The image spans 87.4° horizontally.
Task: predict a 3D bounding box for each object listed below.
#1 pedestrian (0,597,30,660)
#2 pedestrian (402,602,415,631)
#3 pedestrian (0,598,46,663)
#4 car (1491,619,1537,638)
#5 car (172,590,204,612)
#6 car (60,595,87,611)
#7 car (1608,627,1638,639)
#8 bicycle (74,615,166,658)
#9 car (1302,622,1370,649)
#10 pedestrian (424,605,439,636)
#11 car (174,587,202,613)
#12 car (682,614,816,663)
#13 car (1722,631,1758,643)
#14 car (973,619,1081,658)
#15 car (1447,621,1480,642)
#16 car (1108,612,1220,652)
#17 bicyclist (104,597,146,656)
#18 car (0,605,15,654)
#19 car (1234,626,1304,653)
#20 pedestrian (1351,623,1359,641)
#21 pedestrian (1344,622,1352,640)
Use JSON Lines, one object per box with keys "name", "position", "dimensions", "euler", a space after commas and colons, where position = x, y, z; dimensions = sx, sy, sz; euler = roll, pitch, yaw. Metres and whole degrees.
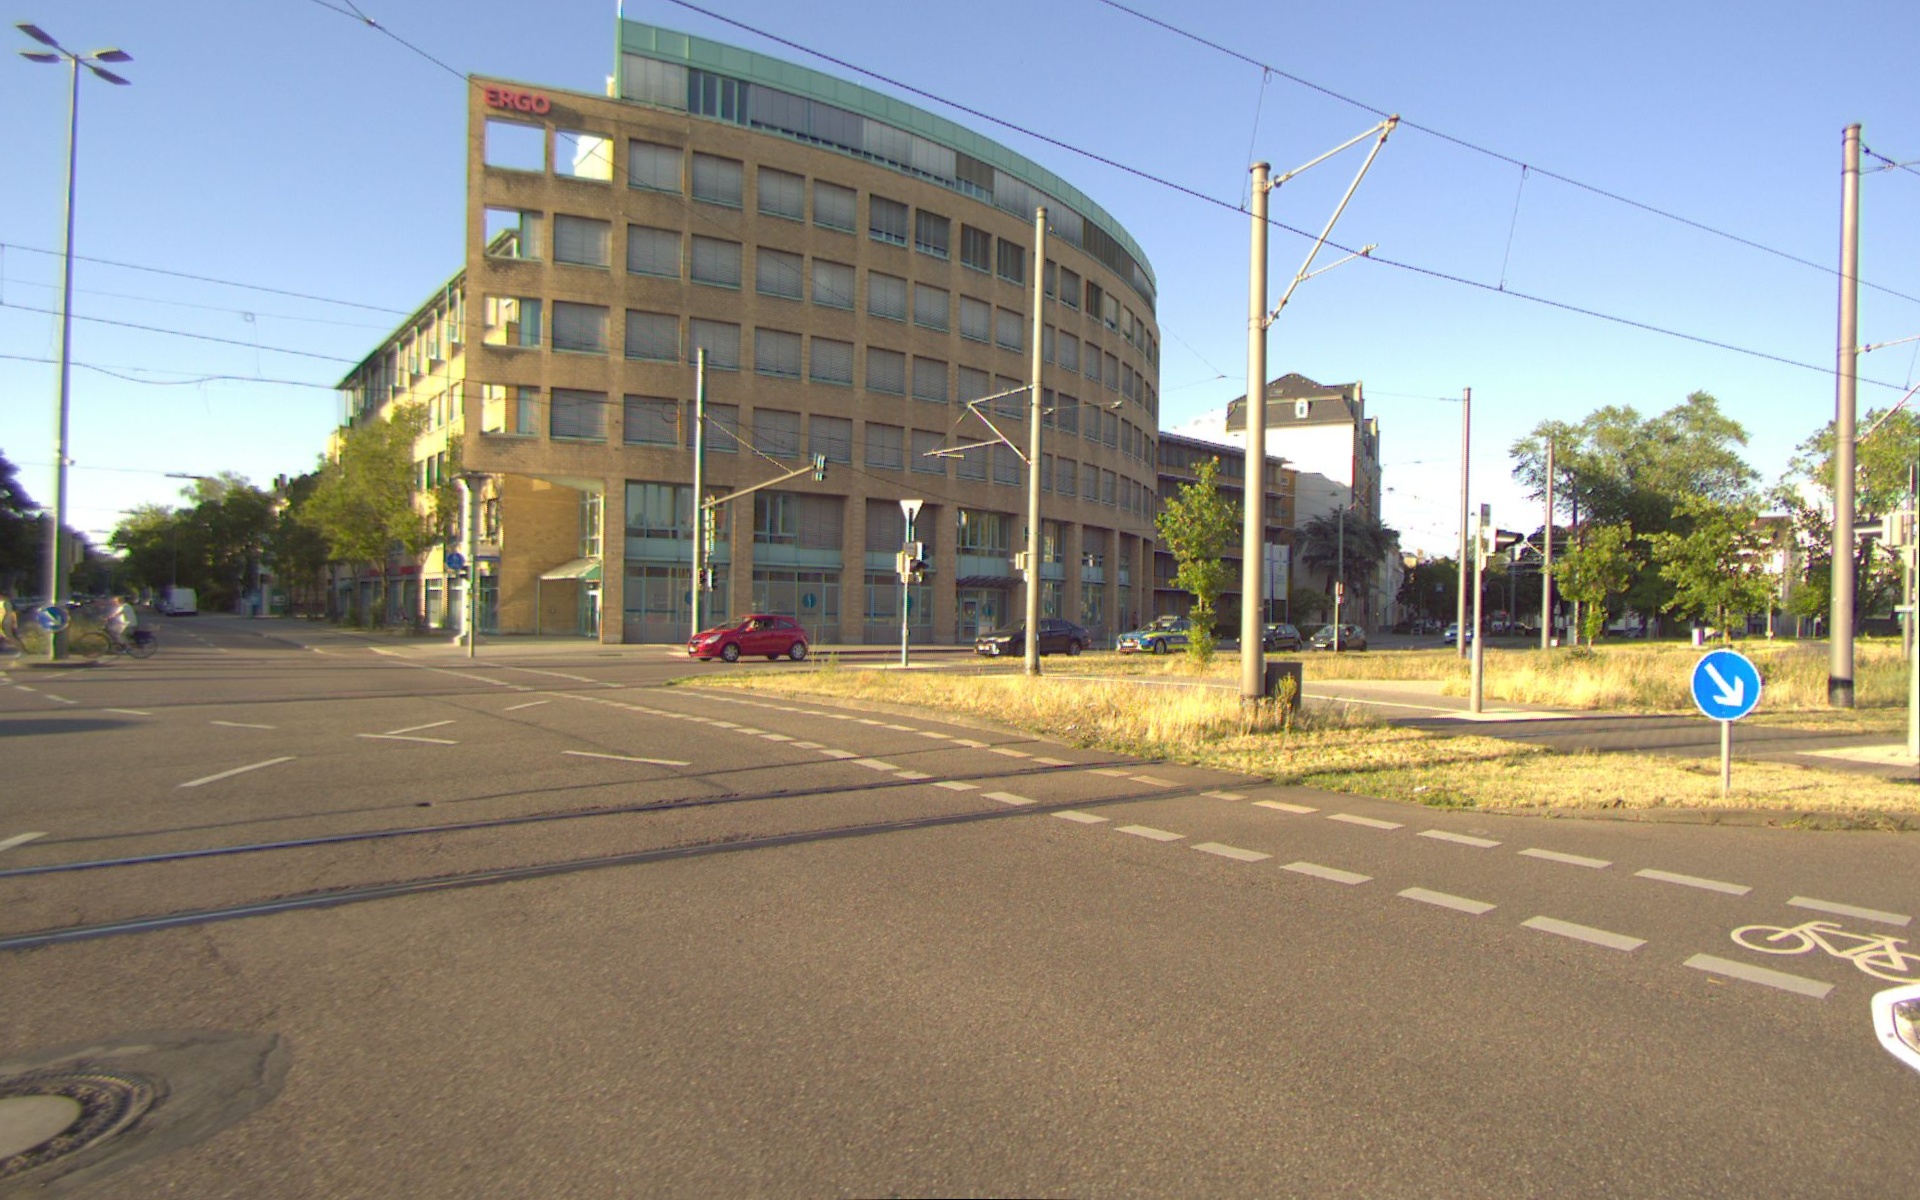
{"name": "pedestrian", "position": [-25.803, 0.769, 27.287], "dimensions": [0.711, 1.695, 0.730], "euler": [1, 0, -38]}
{"name": "pedestrian", "position": [-30.073, 0.887, 54.767], "dimensions": [0.575, 1.576, 0.738], "euler": [1, 0, -34]}
{"name": "pedestrian", "position": [-25.160, 0.797, 26.769], "dimensions": [1.095, 1.695, 0.730], "euler": [1, 0, -38]}
{"name": "car", "position": [60.535, 3.091, 109.758], "dimensions": [4.236, 1.996, 1.771], "euler": [1, 0, 33]}
{"name": "car", "position": [-74.036, 0.113, 96.283], "dimensions": [2.216, 2.040, 4.546], "euler": [1, 0, -41]}
{"name": "car", "position": [-106.060, 0.357, 120.158], "dimensions": [3.943, 1.795, 1.989], "euler": [1, 0, 43]}
{"name": "car", "position": [73.653, 3.693, 111.580], "dimensions": [3.690, 1.275, 1.556], "euler": [1, -2, -35]}
{"name": "bicycle", "position": [-23.486, 1.010, 28.110], "dimensions": [0.453, 1.161, 1.911], "euler": [3, 1, 39]}
{"name": "car", "position": [19.026, 1.785, 50.792], "dimensions": [3.710, 1.298, 1.632], "euler": [1, 0, -41]}
{"name": "pedestrian", "position": [-27.060, 1.028, 51.433], "dimensions": [0.575, 1.576, 0.738], "euler": [1, 0, -34]}
{"name": "car", "position": [-73.859, -0.002, 96.071], "dimensions": [1.983, 2.375, 3.954], "euler": [1, 0, -39]}
{"name": "car", "position": [-6.630, 1.172, 31.745], "dimensions": [1.706, 1.433, 3.862], "euler": [1, 0, 44]}
{"name": "car", "position": [96.827, 4.589, 124.679], "dimensions": [1.509, 1.379, 3.306], "euler": [1, 0, -43]}
{"name": "car", "position": [2.426, 1.359, 36.027], "dimensions": [3.759, 1.299, 1.709], "euler": [2, 0, -41]}
{"name": "car", "position": [38.950, 2.428, 77.686], "dimensions": [1.746, 1.502, 4.296], "euler": [1, 0, 34]}
{"name": "car", "position": [8.345, 1.300, 40.966], "dimensions": [4.740, 1.500, 1.874], "euler": [1, 0, -39]}
{"name": "bicyclist", "position": [-23.426, 0.736, 28.186], "dimensions": [0.513, 1.605, 0.817], "euler": [3, 1, 39]}
{"name": "car", "position": [-29.437, 0.867, 29.560], "dimensions": [1.885, 1.439, 3.958], "euler": [1, -1, -37]}
{"name": "car", "position": [14.347, 1.797, 46.546], "dimensions": [3.572, 1.169, 1.506], "euler": [1, 0, -43]}
{"name": "pedestrian", "position": [31.719, 2.548, 80.720], "dimensions": [0.481, 1.449, 0.410], "euler": [1, 0, -41]}
{"name": "pedestrian", "position": [31.383, 2.532, 81.158], "dimensions": [0.481, 1.449, 0.410], "euler": [1, 0, -41]}
